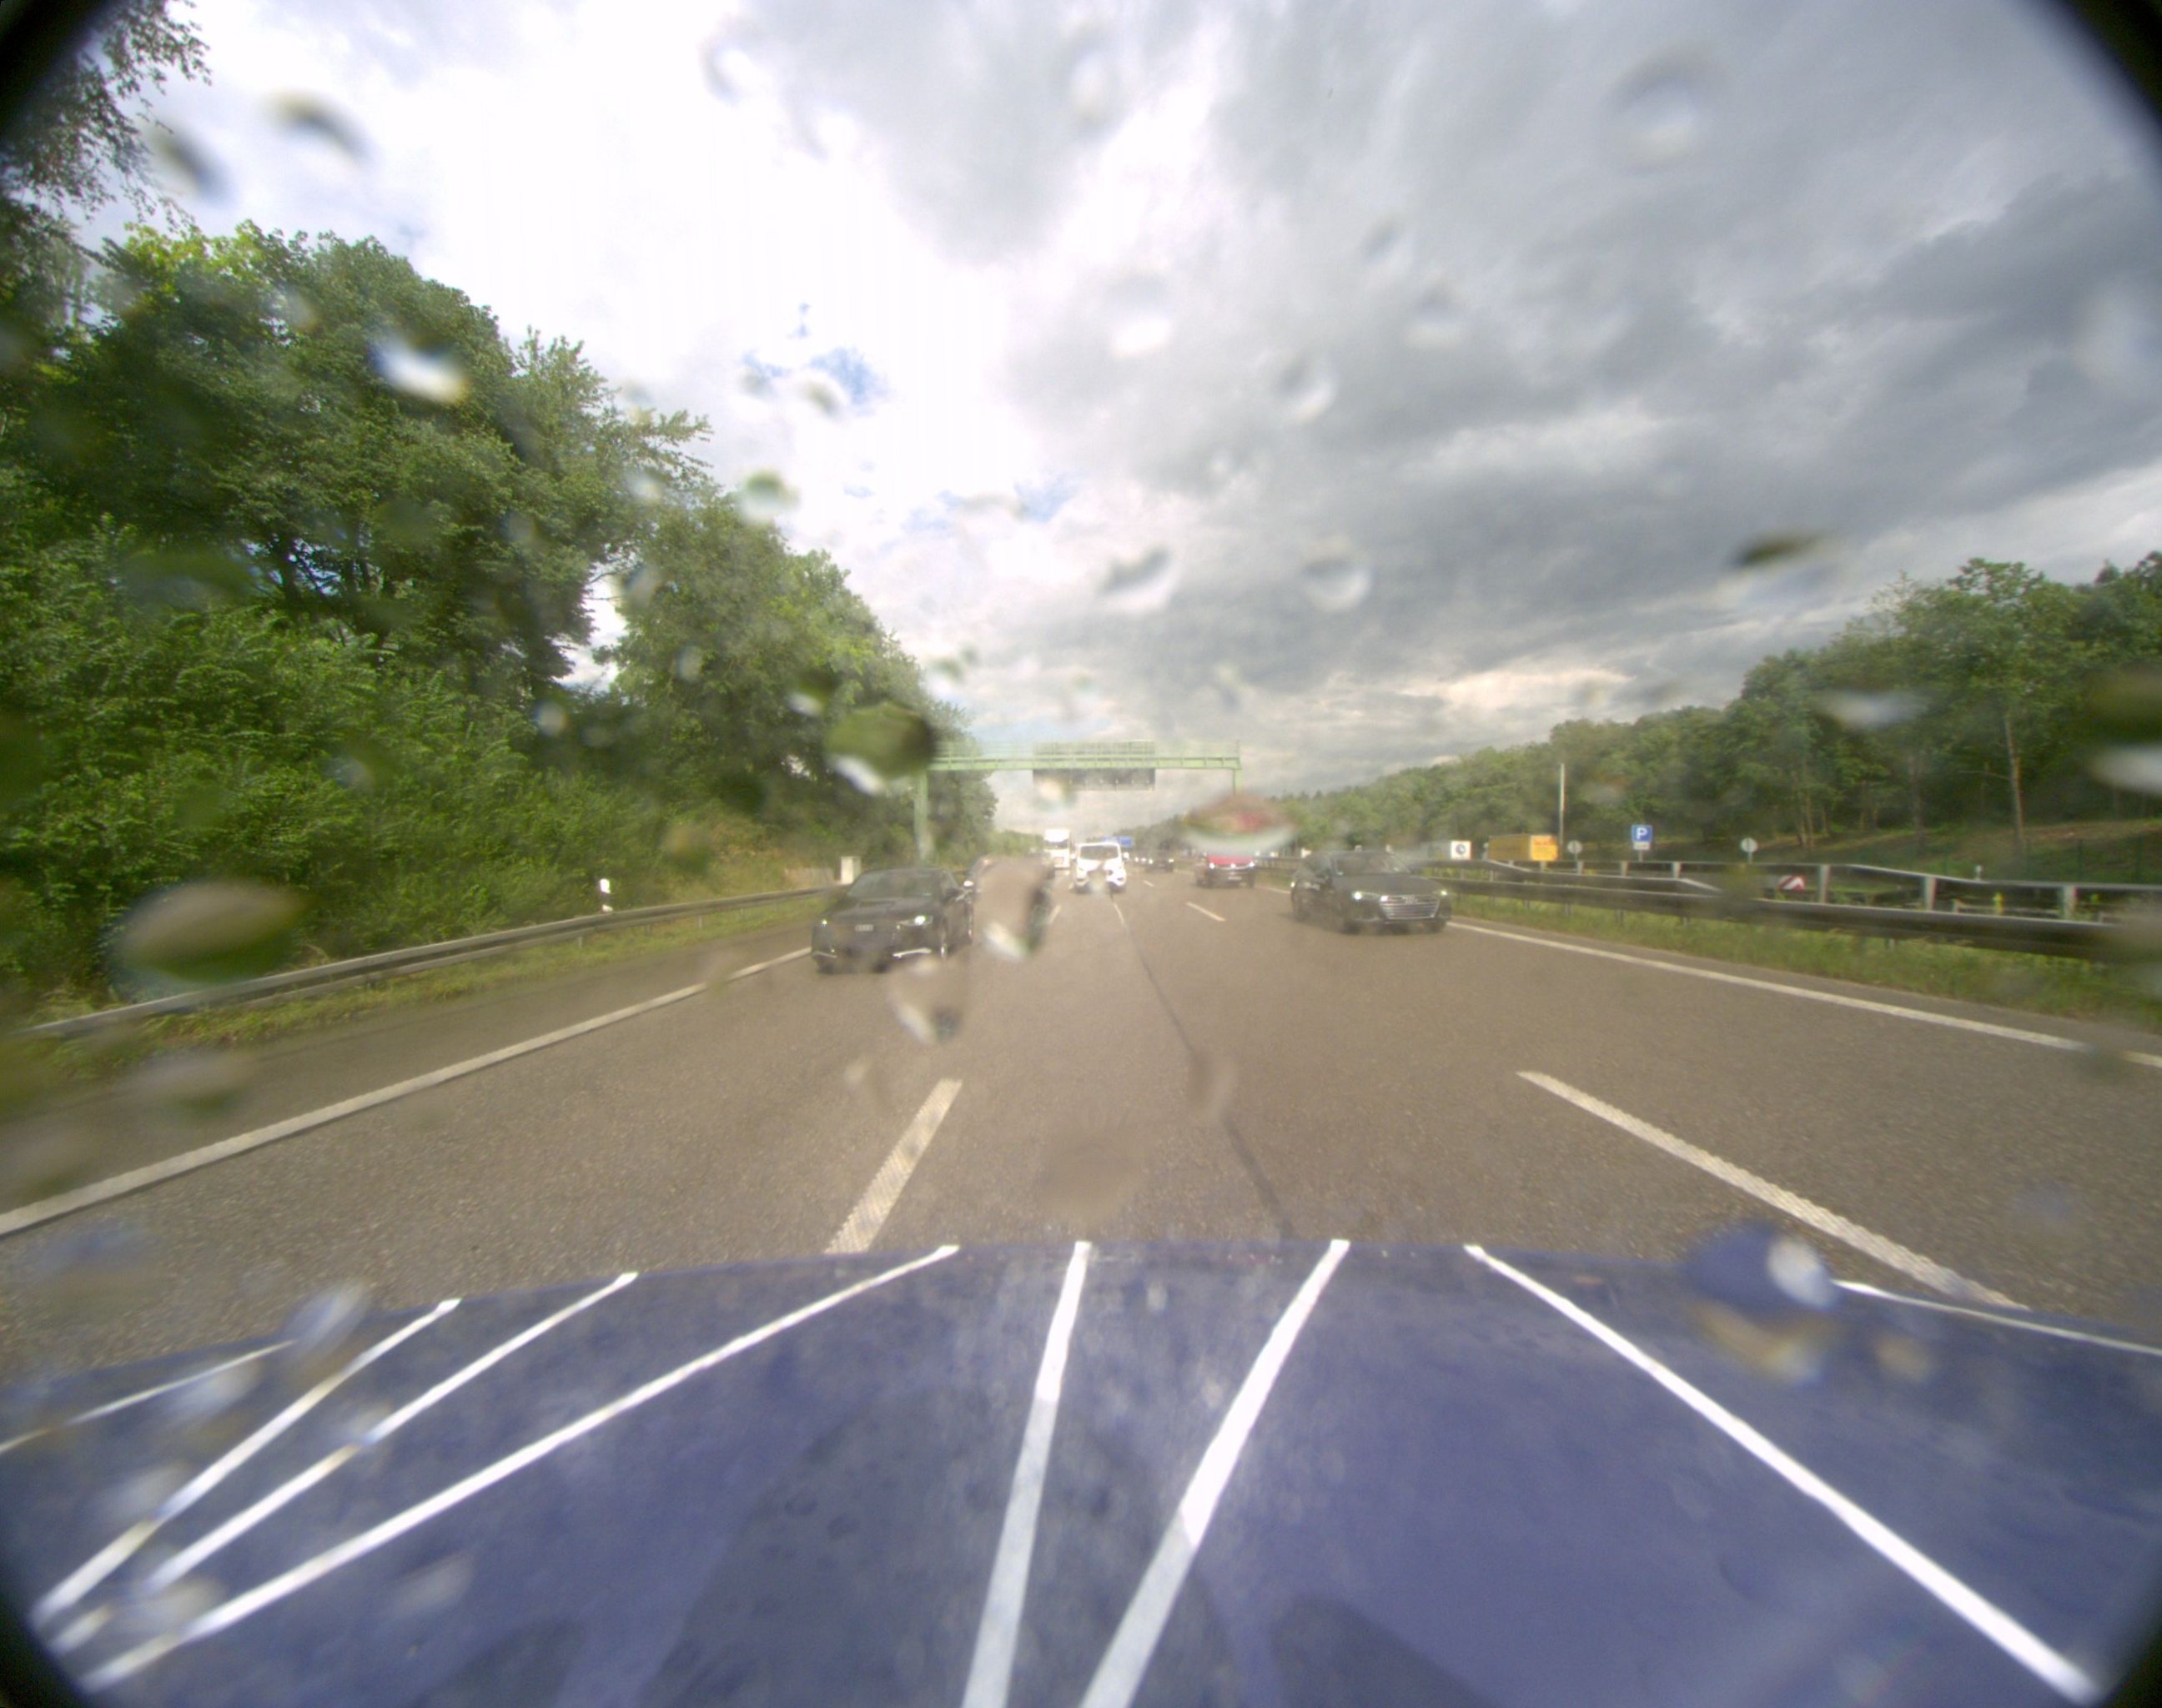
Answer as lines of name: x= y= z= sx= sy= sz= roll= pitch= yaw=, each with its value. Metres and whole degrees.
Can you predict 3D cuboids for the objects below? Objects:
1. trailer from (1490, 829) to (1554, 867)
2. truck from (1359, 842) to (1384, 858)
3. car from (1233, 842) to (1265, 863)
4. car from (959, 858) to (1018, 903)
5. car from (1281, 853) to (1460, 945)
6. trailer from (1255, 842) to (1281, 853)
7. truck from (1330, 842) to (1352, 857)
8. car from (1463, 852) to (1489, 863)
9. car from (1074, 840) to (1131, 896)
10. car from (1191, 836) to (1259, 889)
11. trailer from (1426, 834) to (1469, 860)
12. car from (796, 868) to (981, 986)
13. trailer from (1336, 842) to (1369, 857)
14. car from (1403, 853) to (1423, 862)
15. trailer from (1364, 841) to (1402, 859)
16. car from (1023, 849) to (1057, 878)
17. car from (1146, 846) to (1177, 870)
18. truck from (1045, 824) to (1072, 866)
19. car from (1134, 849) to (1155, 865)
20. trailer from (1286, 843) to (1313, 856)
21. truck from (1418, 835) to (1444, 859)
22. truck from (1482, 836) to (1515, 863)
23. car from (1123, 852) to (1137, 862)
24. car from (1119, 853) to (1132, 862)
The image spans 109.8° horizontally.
trailer: x=47.549 y=-0.707 z=82.480 sx=1.996 sy=3.673 sz=13.669 roll=-2 pitch=1 yaw=13
truck: x=57.894 y=-0.818 z=151.663 sx=3.049 sy=3.165 sz=5.597 roll=0 pitch=0 yaw=2
car: x=15.840 y=-0.147 z=71.755 sx=1.998 sy=1.823 sz=4.619 roll=-3 pitch=0 yaw=1
car: x=-3.263 y=0.900 z=27.432 sx=1.655 sy=1.448 sz=3.744 roll=-1 pitch=0 yaw=-1
car: x=5.284 y=0.727 z=14.543 sx=1.723 sy=1.403 sz=4.467 roll=-2 pitch=0 yaw=0
trailer: x=54.727 y=-1.898 z=222.836 sx=3.085 sy=3.252 sz=13.401 roll=0 pitch=0 yaw=-6
truck: x=58.224 y=-1.045 z=170.318 sx=2.582 sy=3.232 sz=6.535 roll=0 pitch=1 yaw=0
car: x=51.975 y=0.459 z=100.010 sx=1.898 sy=1.494 sz=4.002 roll=0 pitch=0 yaw=8
car: x=0.802 y=0.510 z=30.187 sx=1.985 sy=1.973 sz=5.168 roll=-2 pitch=0 yaw=0
car: x=5.935 y=0.337 z=31.824 sx=1.895 sy=1.973 sz=4.750 roll=-2 pitch=0 yaw=0
trailer: x=53.513 y=-1.008 z=111.362 sx=2.186 sy=3.579 sz=11.726 roll=0 pitch=0 yaw=8
car: x=-2.794 y=0.994 z=12.104 sx=1.759 sy=1.388 sz=4.368 roll=-2 pitch=0 yaw=0
trailer: x=58.181 y=-0.972 z=163.099 sx=2.611 sy=3.252 sz=12.647 roll=0 pitch=0 yaw=0
car: x=56.208 y=0.639 z=128.741 sx=1.899 sy=1.494 sz=4.001 roll=0 pitch=0 yaw=5
trailer: x=57.312 y=-0.782 z=144.603 sx=3.026 sy=3.174 sz=12.175 roll=0 pitch=0 yaw=2
car: x=-2.636 y=0.574 z=50.016 sx=1.831 sy=1.793 sz=5.305 roll=-1 pitch=0 yaw=0
car: x=6.070 y=0.275 z=57.802 sx=1.895 sy=1.660 sz=4.294 roll=-1 pitch=0 yaw=0
truck: x=-2.243 y=-0.879 z=77.978 sx=2.460 sy=4.080 sz=5.332 roll=-2 pitch=0 yaw=0
car: x=6.799 y=0.314 z=81.641 sx=1.895 sy=1.557 sz=4.053 roll=-1 pitch=0 yaw=0
trailer: x=56.787 y=-1.296 z=197.839 sx=3.193 sy=3.252 sz=12.644 roll=0 pitch=0 yaw=-2
truck: x=54.535 y=-1.037 z=118.440 sx=2.167 sy=3.599 sz=5.581 roll=0 pitch=0 yaw=8
truck: x=49.169 y=-0.550 z=89.550 sx=1.979 sy=3.080 sz=5.080 roll=-2 pitch=1 yaw=13
car: x=6.966 y=0.406 z=108.451 sx=1.675 sy=1.228 sz=4.000 roll=-2 pitch=0 yaw=0
car: x=7.084 y=0.532 z=121.020 sx=1.888 sy=1.228 sz=4.506 roll=-2 pitch=0 yaw=0
